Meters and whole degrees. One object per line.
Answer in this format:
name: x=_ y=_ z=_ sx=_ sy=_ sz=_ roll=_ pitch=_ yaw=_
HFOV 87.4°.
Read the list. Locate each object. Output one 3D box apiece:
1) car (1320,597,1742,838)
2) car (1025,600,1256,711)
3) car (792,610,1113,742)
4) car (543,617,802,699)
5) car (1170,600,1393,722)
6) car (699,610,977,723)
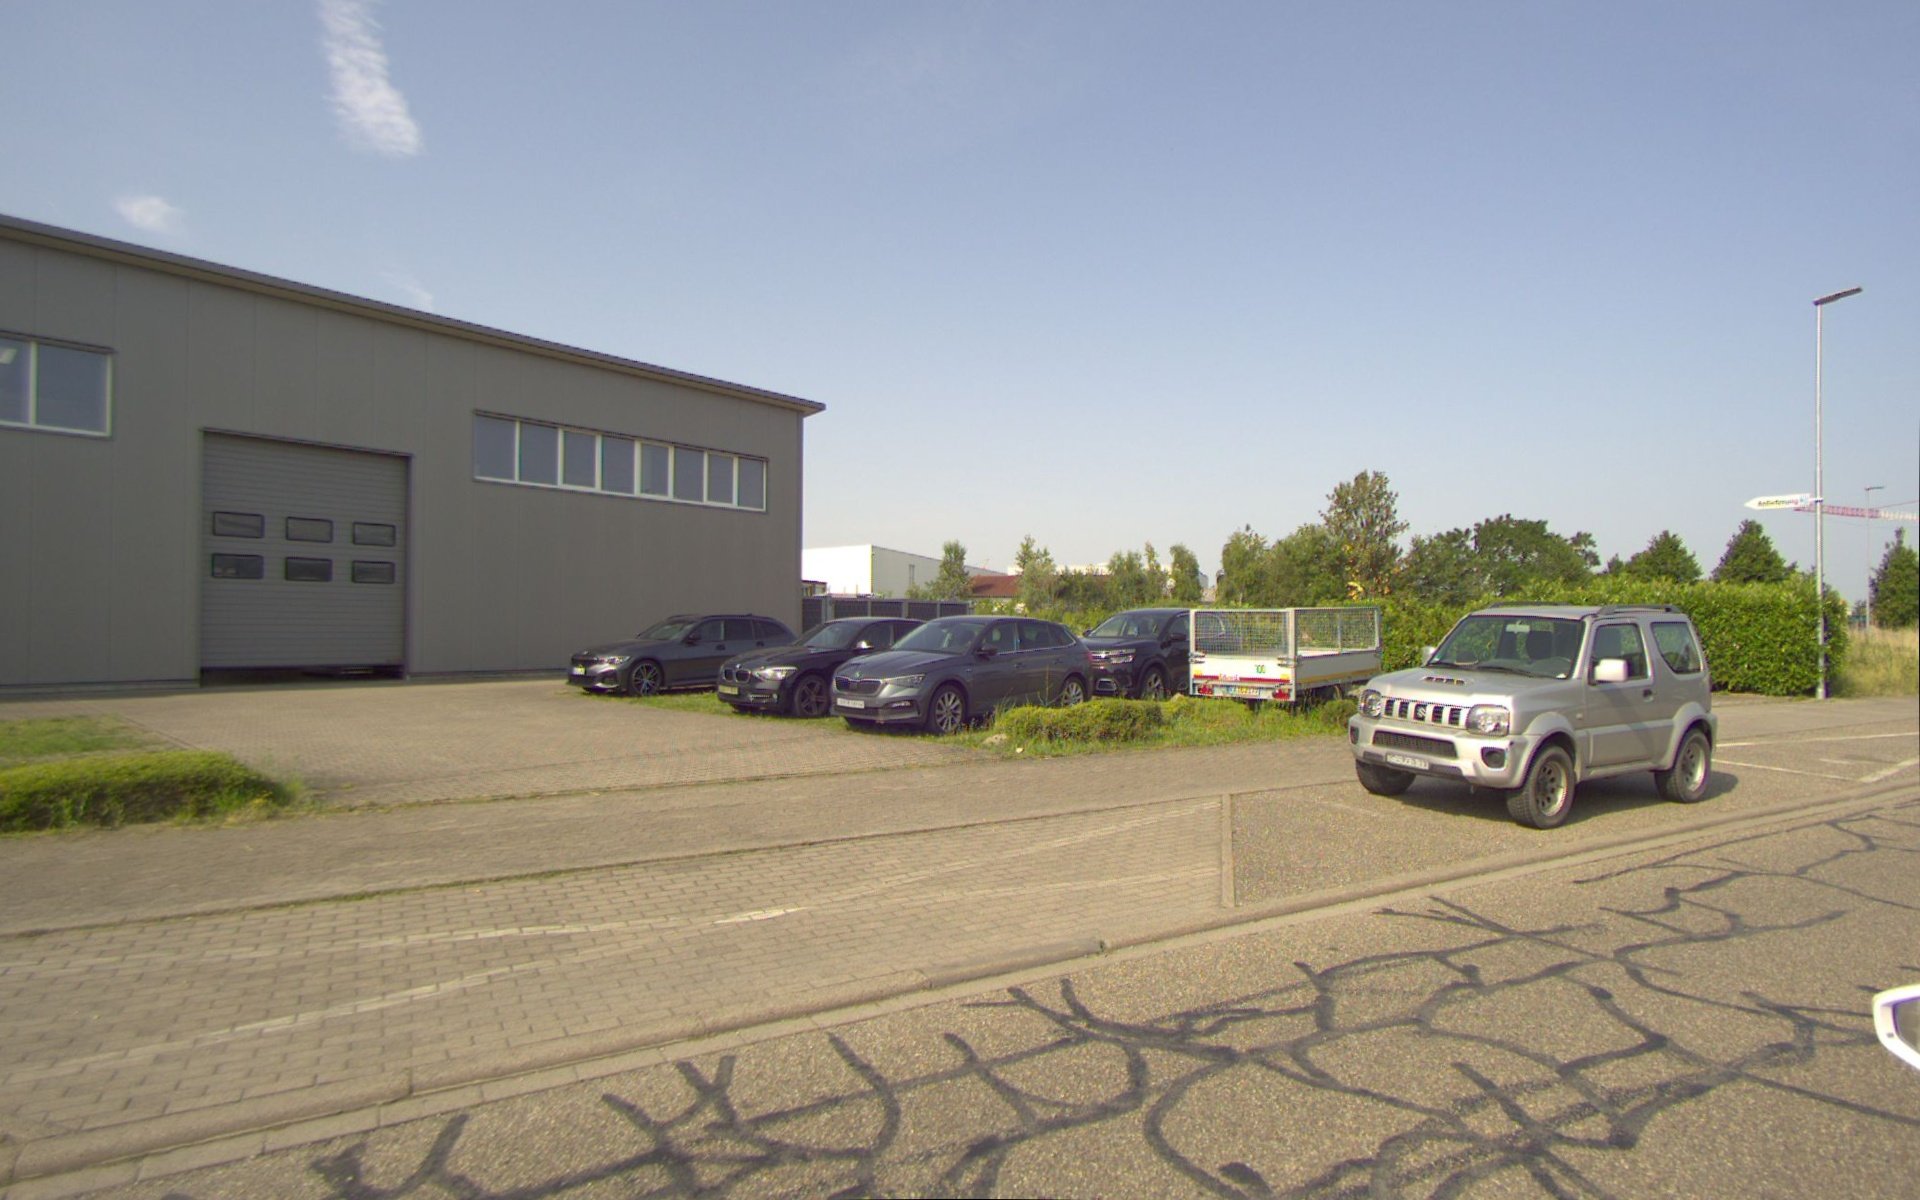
car: x=5.008 y=0.854 z=8.730 sx=3.602 sy=1.673 sz=1.589 roll=1 pitch=2 yaw=-31
car: x=3.259 y=0.883 z=17.521 sx=1.967 sy=1.680 sz=4.398 roll=0 pitch=-1 yaw=42
car: x=0.058 y=0.910 z=13.694 sx=1.953 sy=1.496 sz=4.398 roll=0 pitch=-1 yaw=42
car: x=-5.272 y=1.013 z=18.887 sx=1.966 sy=1.342 sz=4.330 roll=0 pitch=-1 yaw=40
car: x=5.021 y=0.855 z=15.432 sx=1.813 sy=1.593 sz=3.795 roll=2 pitch=0 yaw=43
car: x=-1.736 y=0.933 z=15.569 sx=1.659 sy=1.496 sz=4.330 roll=0 pitch=-1 yaw=40
